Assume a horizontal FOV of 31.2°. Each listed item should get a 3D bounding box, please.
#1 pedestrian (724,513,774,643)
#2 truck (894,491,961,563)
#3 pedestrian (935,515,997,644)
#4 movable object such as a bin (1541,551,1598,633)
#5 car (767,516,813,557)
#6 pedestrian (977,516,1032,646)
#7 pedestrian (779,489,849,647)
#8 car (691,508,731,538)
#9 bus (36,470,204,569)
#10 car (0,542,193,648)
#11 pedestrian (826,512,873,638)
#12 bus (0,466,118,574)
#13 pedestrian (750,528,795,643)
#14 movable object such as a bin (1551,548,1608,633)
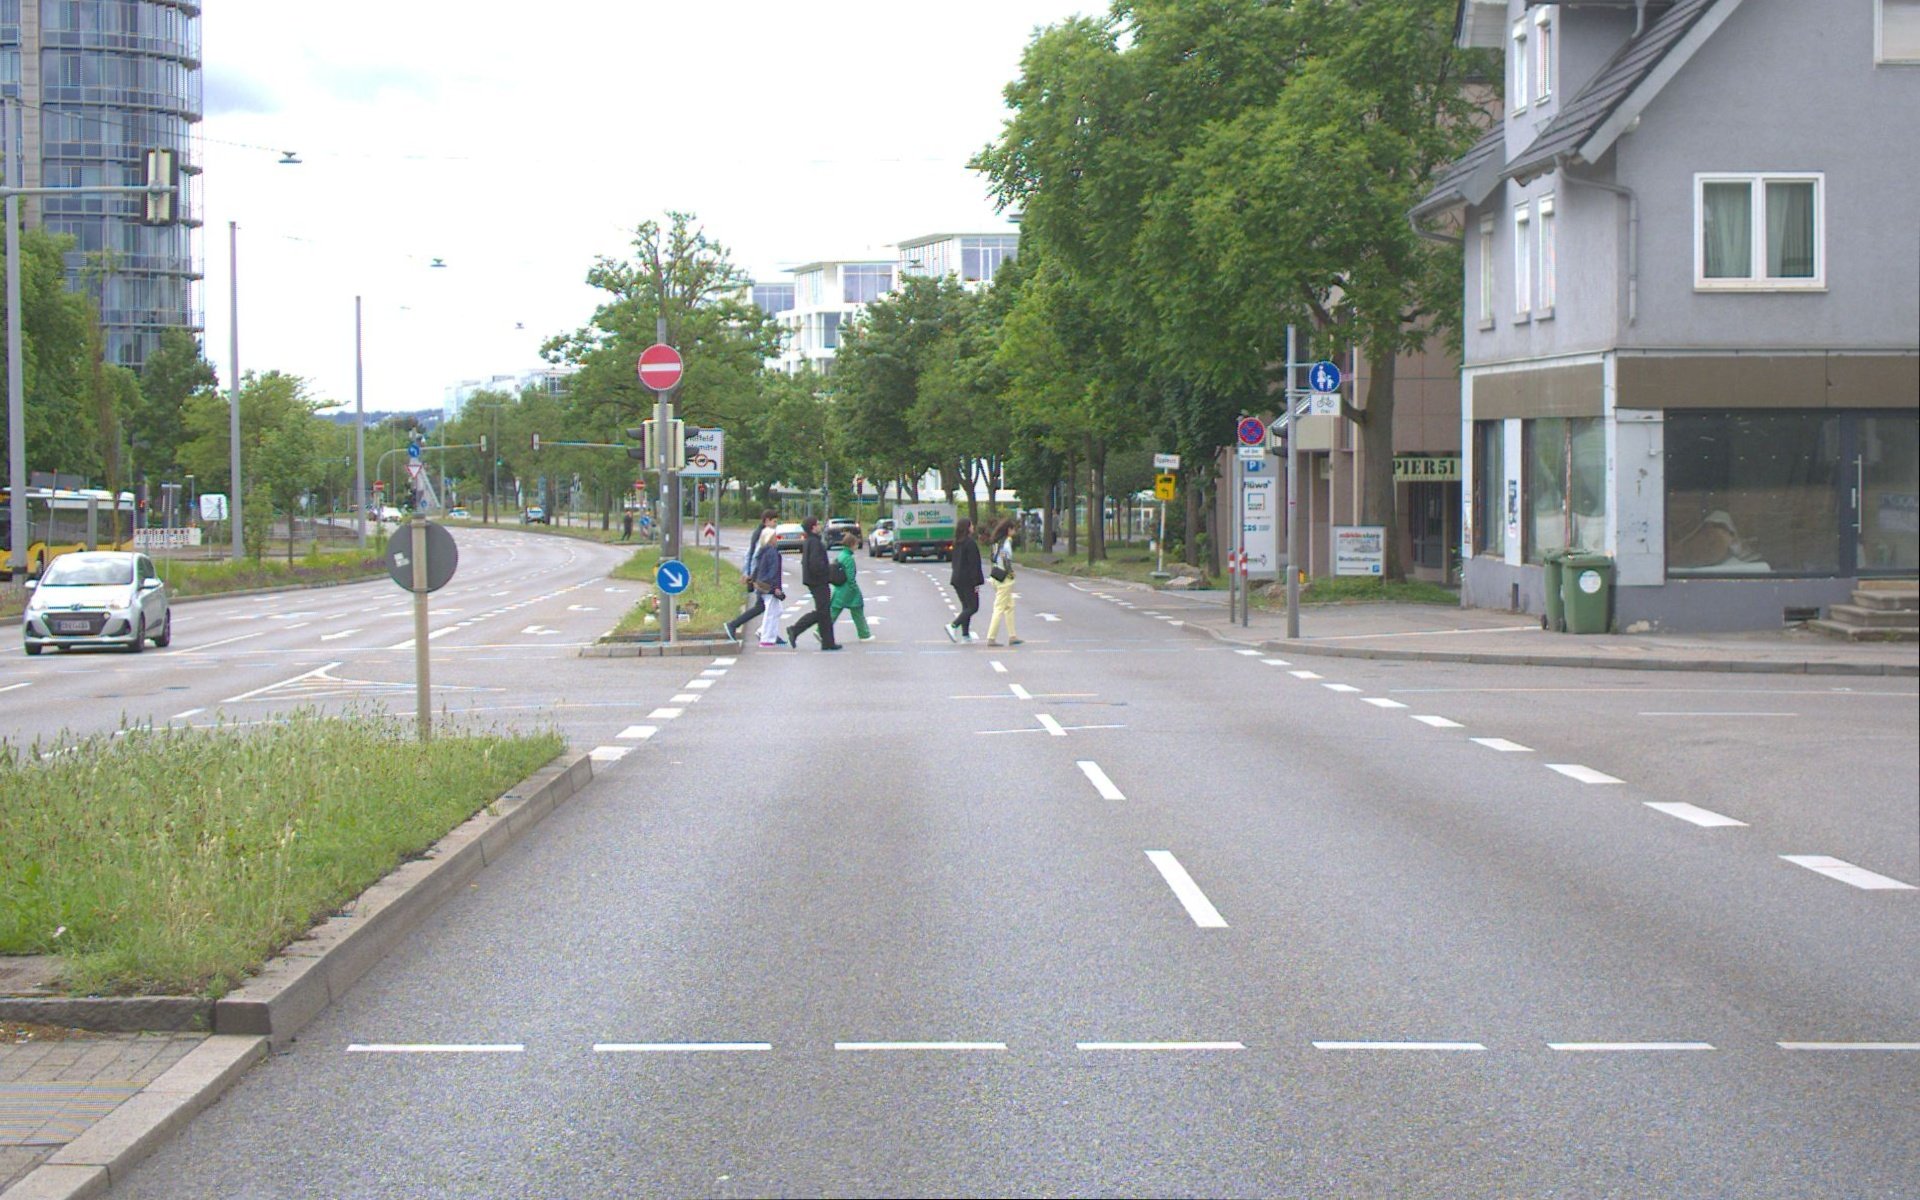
[{"bbox_3d":[-2.811,-0.296,45.770,0.612,1.710,0.546,-1,1,-7],"label":"pedestrian"},{"bbox_3d":[-1.243,-2.806,130.782,2.470,2.602,6.548,1,2,-1],"label":"truck"},{"bbox_3d":[0.082,-0.284,46.067,0.745,1.710,0.583,-1,1,-7],"label":"pedestrian"},{"bbox_3d":[7.889,-0.111,44.512,0.616,1.039,0.589,1,1,1],"label":"movable object such as a bin"},{"bbox_3d":[-7.899,-2.961,160.004,1.993,1.824,4.000,1,1,-1],"label":"car"},{"bbox_3d":[0.583,-0.260,45.561,0.653,1.710,0.452,-1,1,-7],"label":"pedestrian"},{"bbox_3d":[-1.880,-0.414,44.164,0.829,2.007,0.546,-1,1,-7],"label":"pedestrian"},{"bbox_3d":[-12.775,-3.939,176.113,1.993,1.514,4.001,-1,1,-4],"label":"car"},{"bbox_3d":[-30.372,-2.901,124.831,2.832,3.419,10.732,-1,1,3],"label":"bus"},{"bbox_3d":[-12.761,-0.101,50.952,1.993,1.481,4.000,-1,1,-2],"label":"car"},{"bbox_3d":[-1.528,-0.349,47.361,0.583,1.710,0.546,-1,1,-7],"label":"pedestrian"},{"bbox_3d":[-30.985,-2.608,114.093,2.832,3.419,10.732,-1,1,3],"label":"bus"},{"bbox_3d":[-2.449,-0.188,44.880,0.543,1.491,0.487,-1,1,-7],"label":"pedestrian"},{"bbox_3d":[7.912,-0.125,43.933,0.604,1.056,0.589,1,1,1],"label":"movable object such as a bin"}]
